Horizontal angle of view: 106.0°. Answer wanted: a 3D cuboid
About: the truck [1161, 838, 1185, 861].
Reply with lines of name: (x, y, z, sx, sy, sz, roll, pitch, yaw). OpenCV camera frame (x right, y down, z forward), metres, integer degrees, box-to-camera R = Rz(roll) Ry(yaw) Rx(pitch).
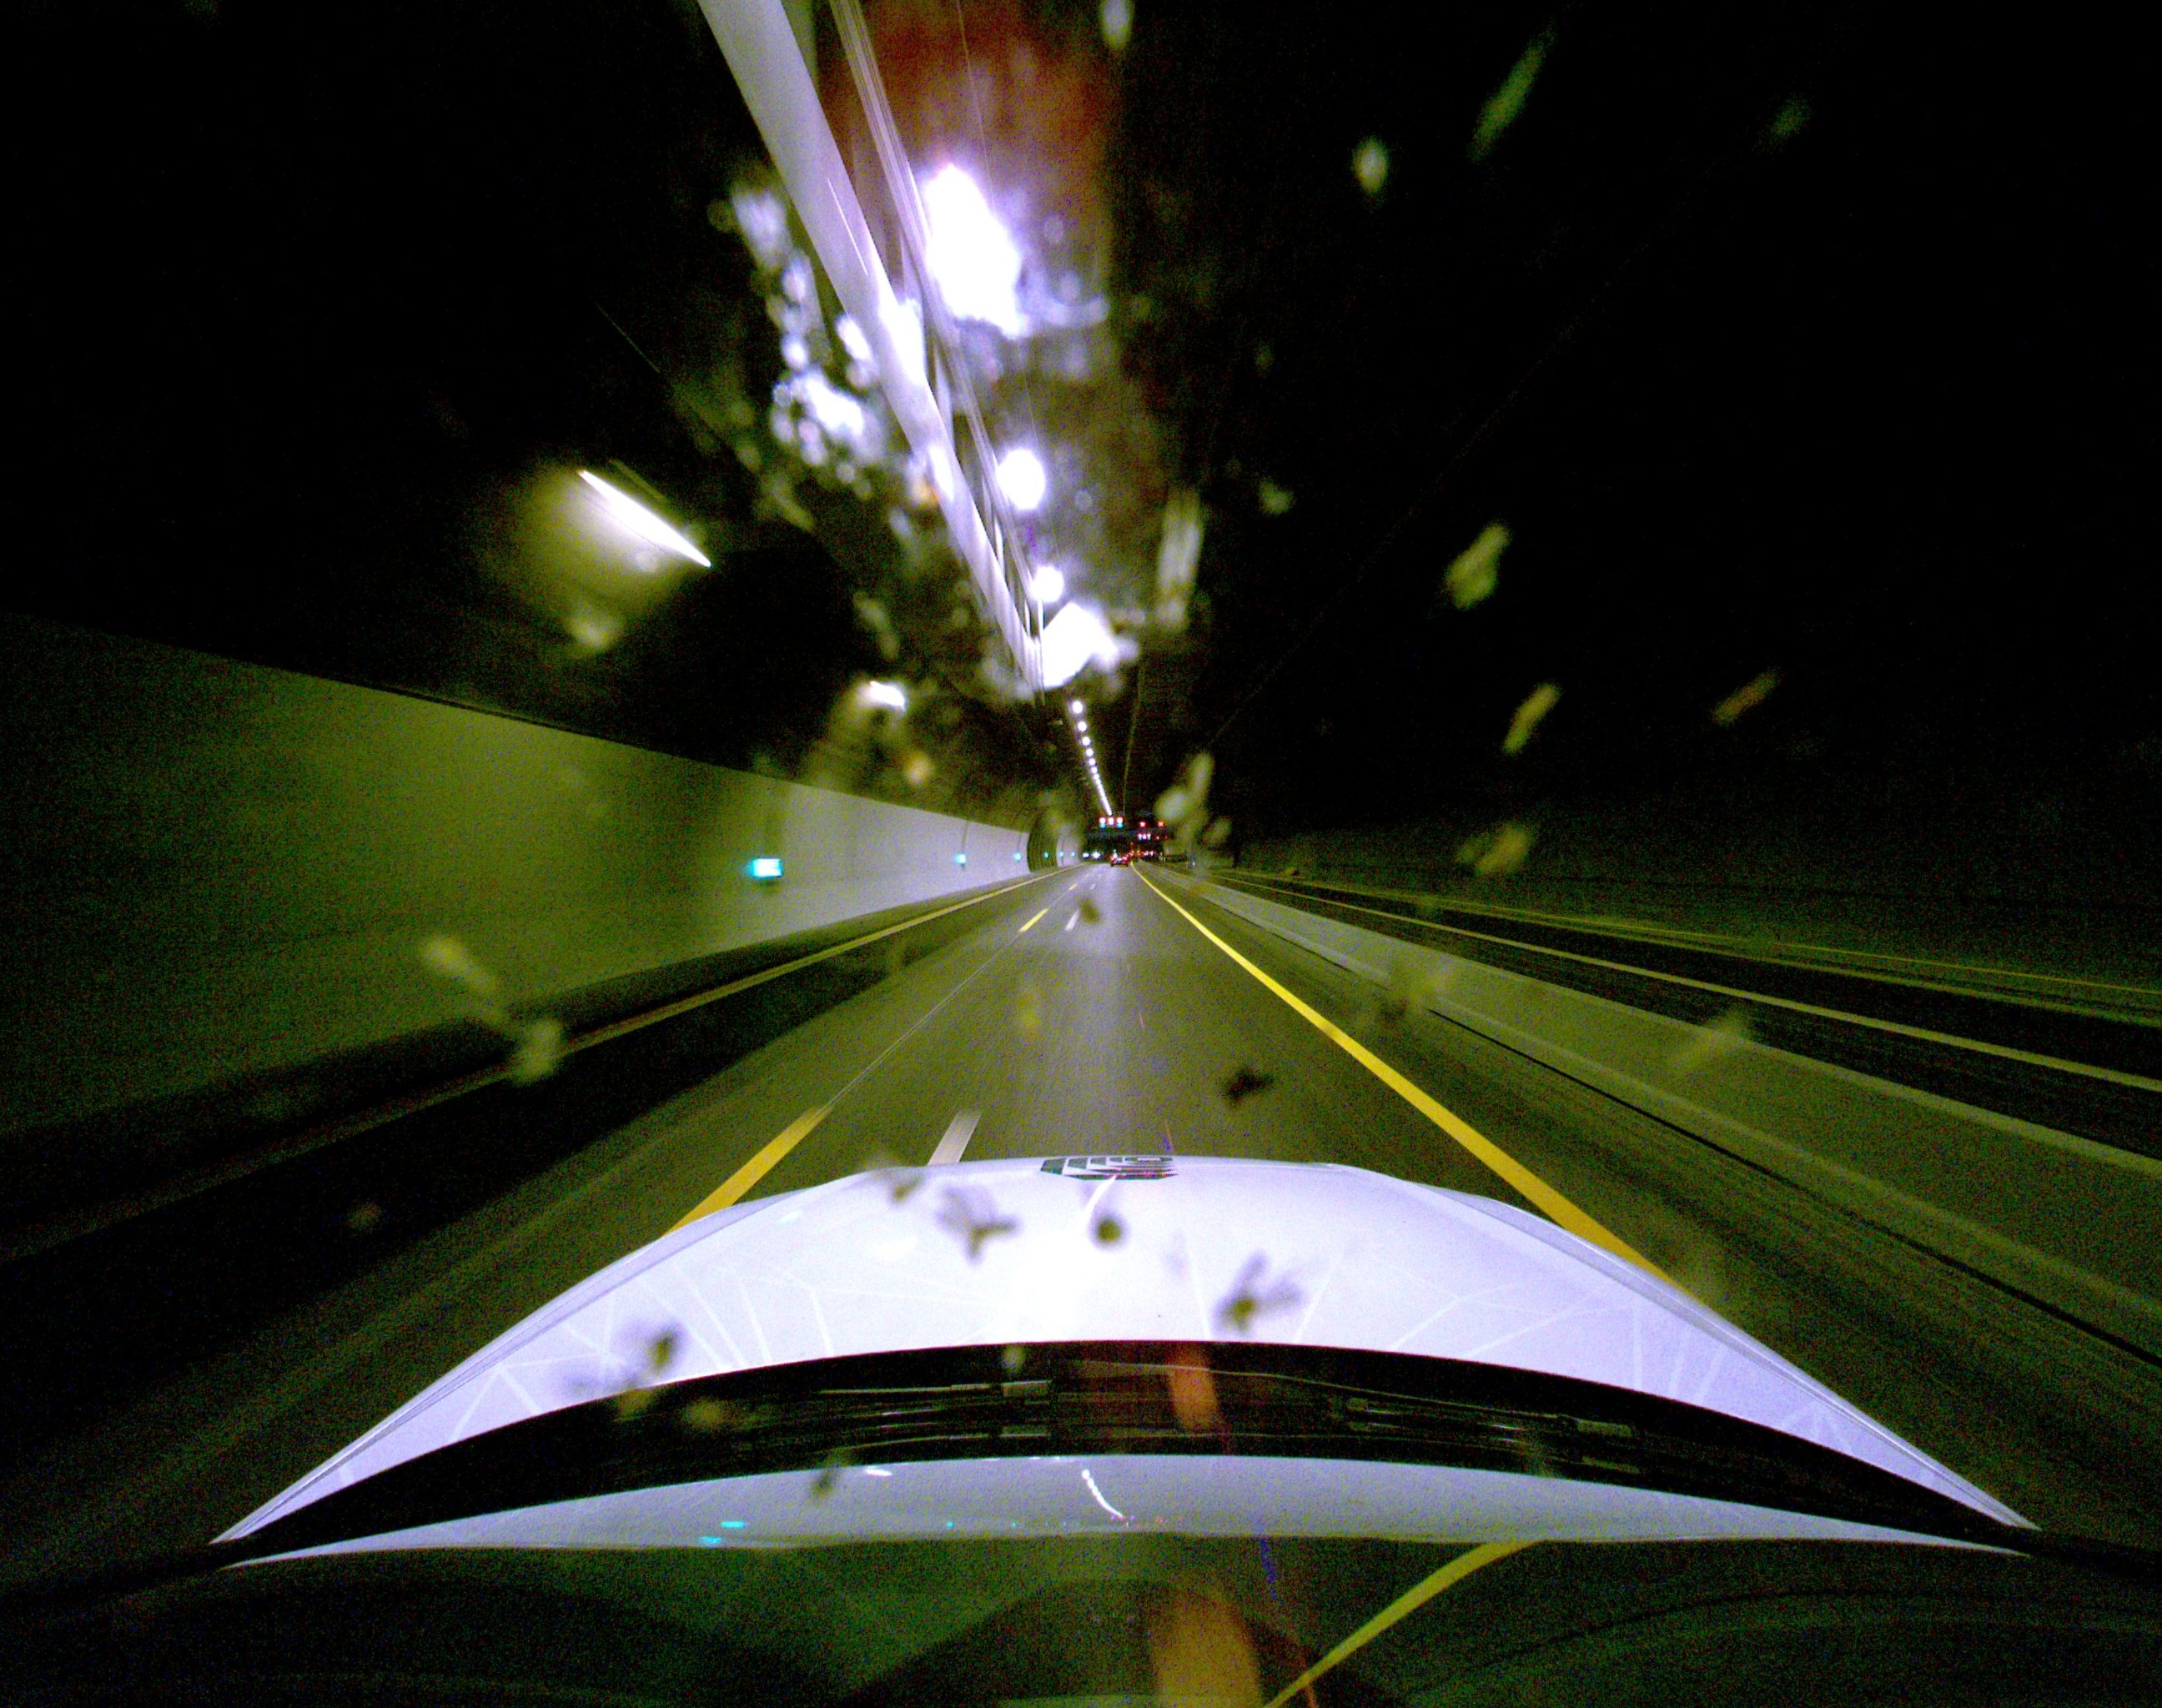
truck: (13.375, -0.610, 119.259, 2.880, 3.272, 8.408, -1, 0, 3)

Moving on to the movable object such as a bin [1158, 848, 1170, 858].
movable object such as a bin: (15.487, -0.098, 152.249, 1.970, 1.816, 3.839, -1, 0, 3)

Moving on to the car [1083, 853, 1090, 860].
car: (1.734, 0.746, 260.442, 1.985, 2.013, 4.003, -1, 0, 3)

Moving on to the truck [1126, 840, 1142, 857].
truck: (16.237, -1.620, 248.805, 4.525, 4.987, 9.610, -1, 0, 4)

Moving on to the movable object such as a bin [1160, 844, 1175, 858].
movable object such as a bin: (17.489, -0.664, 164.876, 2.725, 2.754, 7.057, -1, 0, 4)

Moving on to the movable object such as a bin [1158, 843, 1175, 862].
movable object such as a bin: (13.443, -0.267, 128.119, 2.229, 2.794, 7.239, -1, 0, 3)

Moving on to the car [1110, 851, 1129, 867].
car: (4.127, 0.497, 87.680, 1.881, 1.607, 4.000, -1, 0, 0)
